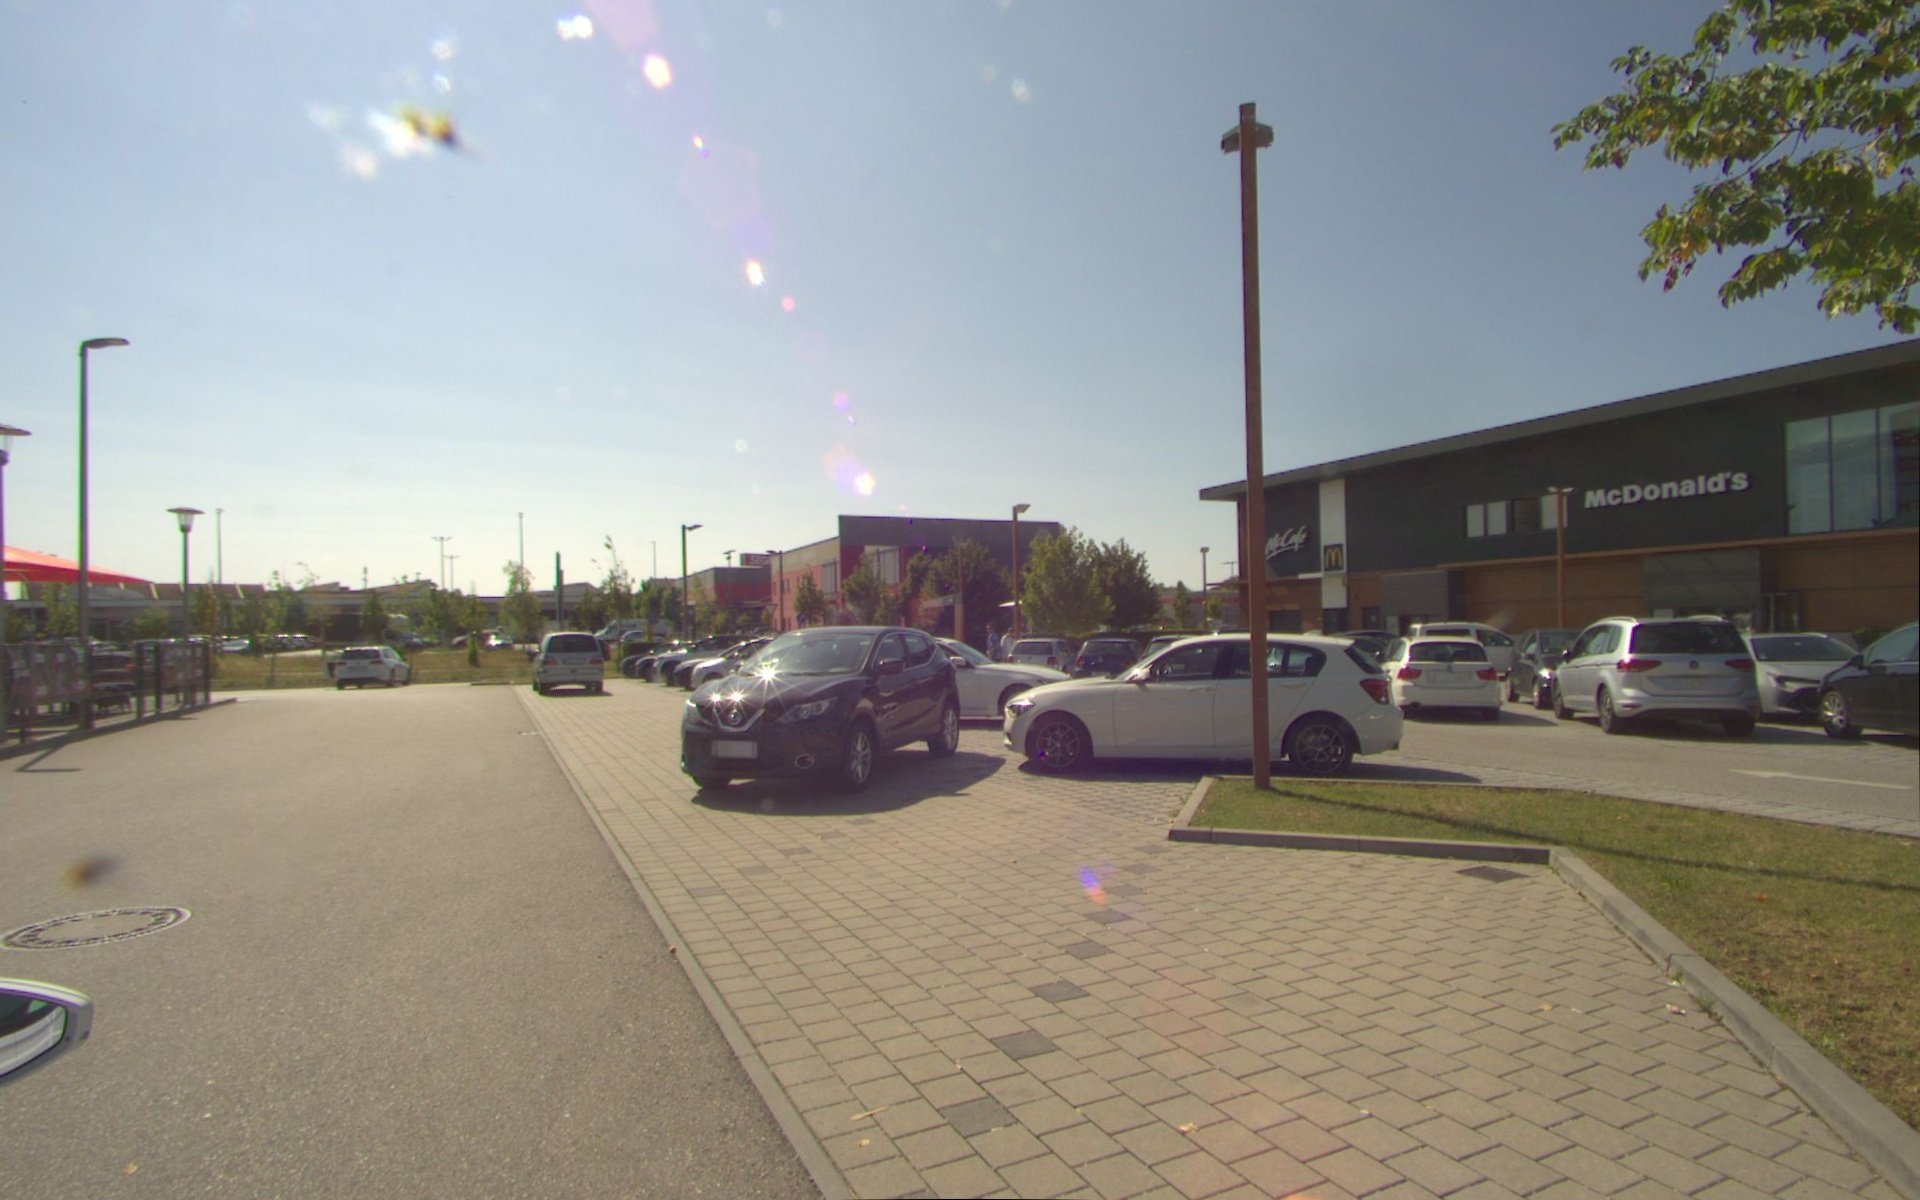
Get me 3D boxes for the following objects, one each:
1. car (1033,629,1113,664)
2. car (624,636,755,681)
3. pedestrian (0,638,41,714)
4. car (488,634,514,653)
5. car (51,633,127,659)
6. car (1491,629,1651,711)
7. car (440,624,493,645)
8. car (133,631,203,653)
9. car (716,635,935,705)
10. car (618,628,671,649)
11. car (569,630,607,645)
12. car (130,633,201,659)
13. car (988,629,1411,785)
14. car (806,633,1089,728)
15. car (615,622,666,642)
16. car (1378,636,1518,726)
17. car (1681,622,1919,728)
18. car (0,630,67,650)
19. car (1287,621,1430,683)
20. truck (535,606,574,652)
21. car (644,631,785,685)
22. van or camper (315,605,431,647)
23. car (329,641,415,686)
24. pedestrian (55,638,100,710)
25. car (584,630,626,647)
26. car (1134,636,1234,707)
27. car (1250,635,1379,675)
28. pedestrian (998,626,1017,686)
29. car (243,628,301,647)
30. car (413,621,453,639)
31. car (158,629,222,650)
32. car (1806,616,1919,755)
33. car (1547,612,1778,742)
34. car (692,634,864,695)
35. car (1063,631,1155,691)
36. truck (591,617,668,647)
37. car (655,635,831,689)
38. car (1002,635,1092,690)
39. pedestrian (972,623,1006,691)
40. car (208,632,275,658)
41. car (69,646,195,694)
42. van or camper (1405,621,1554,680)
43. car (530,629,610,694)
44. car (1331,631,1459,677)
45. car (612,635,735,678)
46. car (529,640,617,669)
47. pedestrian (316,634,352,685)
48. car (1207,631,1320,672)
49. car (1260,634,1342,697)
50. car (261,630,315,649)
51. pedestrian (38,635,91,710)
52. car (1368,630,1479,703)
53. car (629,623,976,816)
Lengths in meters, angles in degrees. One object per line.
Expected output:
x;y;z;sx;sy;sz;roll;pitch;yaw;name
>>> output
7.534;3.072;66.715;5.026;2.225;1.993;1;-2;-26;car
-9.711;2.086;36.118;4.127;1.545;1.975;-1;-2;11;car
-16.472;1.311;17.432;0.678;1.290;0.546;1;-2;-43;pedestrian
-36.527;3.452;79.679;1.628;1.478;3.957;0;-2;-21;car
-63.693;3.344;73.294;1.961;1.879;4.288;0;-2;-3;car
12.462;1.378;20.759;1.863;1.505;4.638;-1;-2;19;car
-44.433;3.116;90.173;4.202;1.879;1.863;1;-2;-27;car
-67.499;3.554;85.442;4.337;1.879;1.948;1;-2;-27;car
-3.104;1.585;23.391;4.696;1.505;1.974;-1;-2;16;car
-28.439;3.457;90.169;4.337;1.879;1.948;1;-2;-27;car
-47.114;4.696;126.741;4.337;1.879;1.948;1;-2;-27;car
-58.676;3.361;74.072;1.918;1.879;4.406;0;-2;-3;car
2.552;1.077;11.024;4.130;1.478;1.974;-1;-2;16;car
-0.182;1.314;17.096;4.501;1.478;1.835;-1;-2;16;car
-30.303;3.018;94.985;4.337;1.879;1.948;1;-2;-27;car
8.680;1.373;18.145;1.782;1.431;4.108;-1;-2;19;car
13.934;1.165;16.659;1.863;1.505;4.638;-1;-2;19;car
-86.493;3.704;93.288;4.503;1.879;1.948;1;-2;-27;car
12.255;1.576;31.014;1.631;1.797;3.938;1;-2;-31;car
-32.625;2.365;80.808;2.722;3.525;6.817;0;-2;-21;truck
-8.058;1.898;33.114;4.125;1.675;1.976;-1;-2;3;car
-45.080;2.000;76.962;7.900;3.141;2.420;0;-1;7;van or camper
-21.268;2.303;36.419;1.801;1.487;4.475;0;-3;-19;car
-16.304;1.350;18.501;0.607;1.290;0.618;1;-2;-42;pedestrian
-40.607;4.370;114.605;4.337;1.879;1.948;1;-2;-27;car
5.347;1.604;23.479;1.782;1.505;4.274;-1;-2;19;car
13.538;2.092;38.461;4.383;1.484;1.962;0;-2;11;car
1.423;1.673;29.972;0.458;1.791;0.552;0;-1;11;pedestrian
-66.400;3.610;96.672;4.337;1.879;1.948;1;-2;-27;car
-60.618;3.516;115.290;3.936;2.039;1.994;1;-2;-24;car
-71.176;3.646;92.641;4.337;1.879;1.948;1;-2;-27;car
11.797;0.967;11.463;1.723;1.571;3.996;-1;-2;16;car
10.439;1.089;15.244;1.782;1.695;4.108;-1;-2;19;car
-4.731;1.673;26.458;4.125;1.545;1.976;0;-2;4;car
4.234;1.644;27.900;1.782;1.534;4.108;-1;-2;19;car
-32.055;3.089;97.190;6.950;2.850;1.948;1;-2;-27;truck
-6.411;1.814;29.817;4.755;1.545;1.975;-1;-2;12;car
2.645;1.821;29.750;1.682;1.511;4.108;-1;-2;19;car
0.812;1.583;27.899;0.756;1.873;0.833;0;-1;-13;pedestrian
-53.582;3.374;74.763;1.918;1.879;4.406;0;-2;-3;car
-28.111;2.349;34.175;1.801;1.487;4.348;0;-3;-18;car
16.579;1.605;32.128;3.955;1.797;1.710;-1;-2;16;van or camper
-11.663;1.777;29.793;1.805;1.770;4.666;0;-2;-26;car
15.357;1.904;35.532;3.877;1.534;1.713;-1;-1;14;car
-11.232;2.212;39.331;4.256;1.545;1.972;-2;-1;18;car
-24.550;3.419;63.604;5.138;1.753;1.984;1;-2;-23;car
-22.748;2.149;36.395;0.978;1.831;0.724;0;-2;-23;pedestrian
12.523;2.113;41.599;4.384;1.623;1.961;-1;-2;13;car
9.109;1.689;26.736;1.863;1.505;4.638;-1;-2;19;car
-68.545;3.987;102.241;4.337;1.879;1.948;1;-2;-27;car
-15.890;1.269;17.781;0.678;1.290;0.834;1;-2;-42;pedestrian
10.587;1.471;23.194;1.863;1.505;4.638;-1;-2;19;car
-1.405;1.064;10.761;1.825;1.611;4.295;-1;-1;20;car
